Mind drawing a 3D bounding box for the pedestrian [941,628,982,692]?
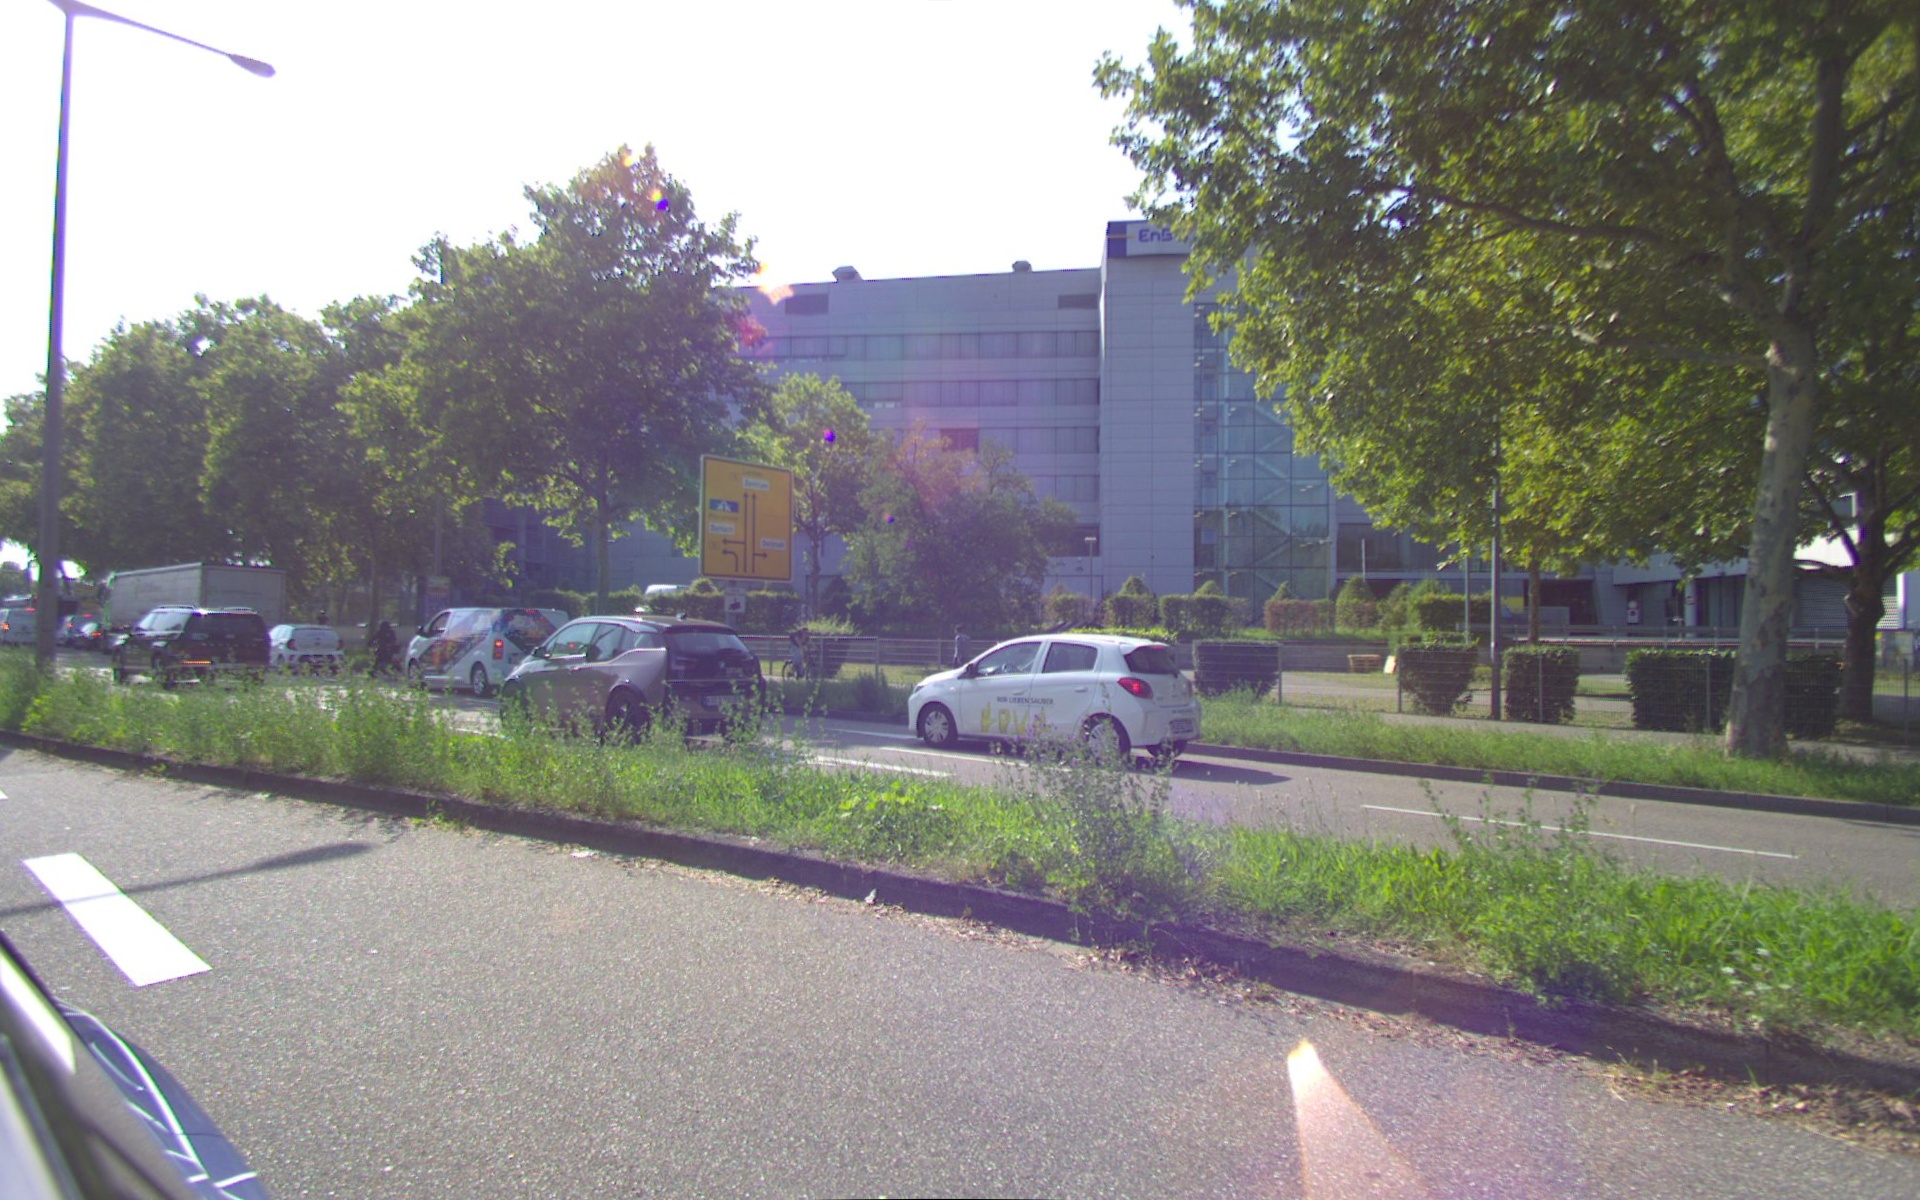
[{"bbox_3d":[0.038,1.567,26.699,0.933,1.665,0.611,-1,-2,40],"label":"pedestrian"}]

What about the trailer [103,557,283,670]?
[{"bbox_3d":[-30.512,0.628,39.862,13.801,3.851,2.606,-1,-4,40],"label":"trailer"}]

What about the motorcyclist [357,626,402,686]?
[{"bbox_3d":[-15.523,1.469,27.065,0.922,1.566,0.770,-1,-2,41],"label":"motorcyclist"}]

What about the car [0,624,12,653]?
[{"bbox_3d":[-52.921,2.070,54.885,4.137,1.540,1.677,-1,-4,40],"label":"car"}]

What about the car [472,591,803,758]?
[{"bbox_3d":[-4.223,0.884,12.959,4.303,1.773,1.973,-1,-4,39],"label":"car"}]

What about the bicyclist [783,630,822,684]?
[{"bbox_3d":[-4.300,1.548,27.569,0.839,1.450,0.641,-2,-3,40],"label":"bicyclist"}]

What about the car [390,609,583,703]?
[{"bbox_3d":[-10.634,1.209,22.572,4.966,1.873,1.964,-1,-4,41],"label":"car"}]

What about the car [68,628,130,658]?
[{"bbox_3d":[-43.797,2.190,51.444,4.477,1.422,1.630,-1,-4,40],"label":"car"}]

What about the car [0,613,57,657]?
[{"bbox_3d":[-43.880,1.633,47.117,5.032,1.968,1.973,-1,-3,40],"label":"car"}]

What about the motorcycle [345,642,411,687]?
[{"bbox_3d":[-15.620,1.698,27.144,2.466,1.115,0.786,-1,-2,41],"label":"motorcycle"}]

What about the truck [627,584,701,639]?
[{"bbox_3d":[-16.311,0.653,56.206,2.209,2.883,5.900,0,-1,2],"label":"truck"}]

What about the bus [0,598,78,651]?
[{"bbox_3d":[-59.290,1.549,64.799,12.305,3.103,2.563,-1,-2,41],"label":"bus"}]

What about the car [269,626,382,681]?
[{"bbox_3d":[-18.405,1.530,29.304,3.829,1.490,1.728,-1,-3,41],"label":"car"}]

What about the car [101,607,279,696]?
[{"bbox_3d":[-17.025,1.115,22.308,4.470,1.773,1.974,-1,-4,38],"label":"car"}]

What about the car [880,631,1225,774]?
[{"bbox_3d":[1.064,1.147,12.627,3.995,1.493,1.773,-1,-3,39],"label":"car"}]

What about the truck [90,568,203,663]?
[{"bbox_3d":[-35.436,0.735,44.029,5.887,3.849,2.581,-1,-4,40],"label":"truck"}]
